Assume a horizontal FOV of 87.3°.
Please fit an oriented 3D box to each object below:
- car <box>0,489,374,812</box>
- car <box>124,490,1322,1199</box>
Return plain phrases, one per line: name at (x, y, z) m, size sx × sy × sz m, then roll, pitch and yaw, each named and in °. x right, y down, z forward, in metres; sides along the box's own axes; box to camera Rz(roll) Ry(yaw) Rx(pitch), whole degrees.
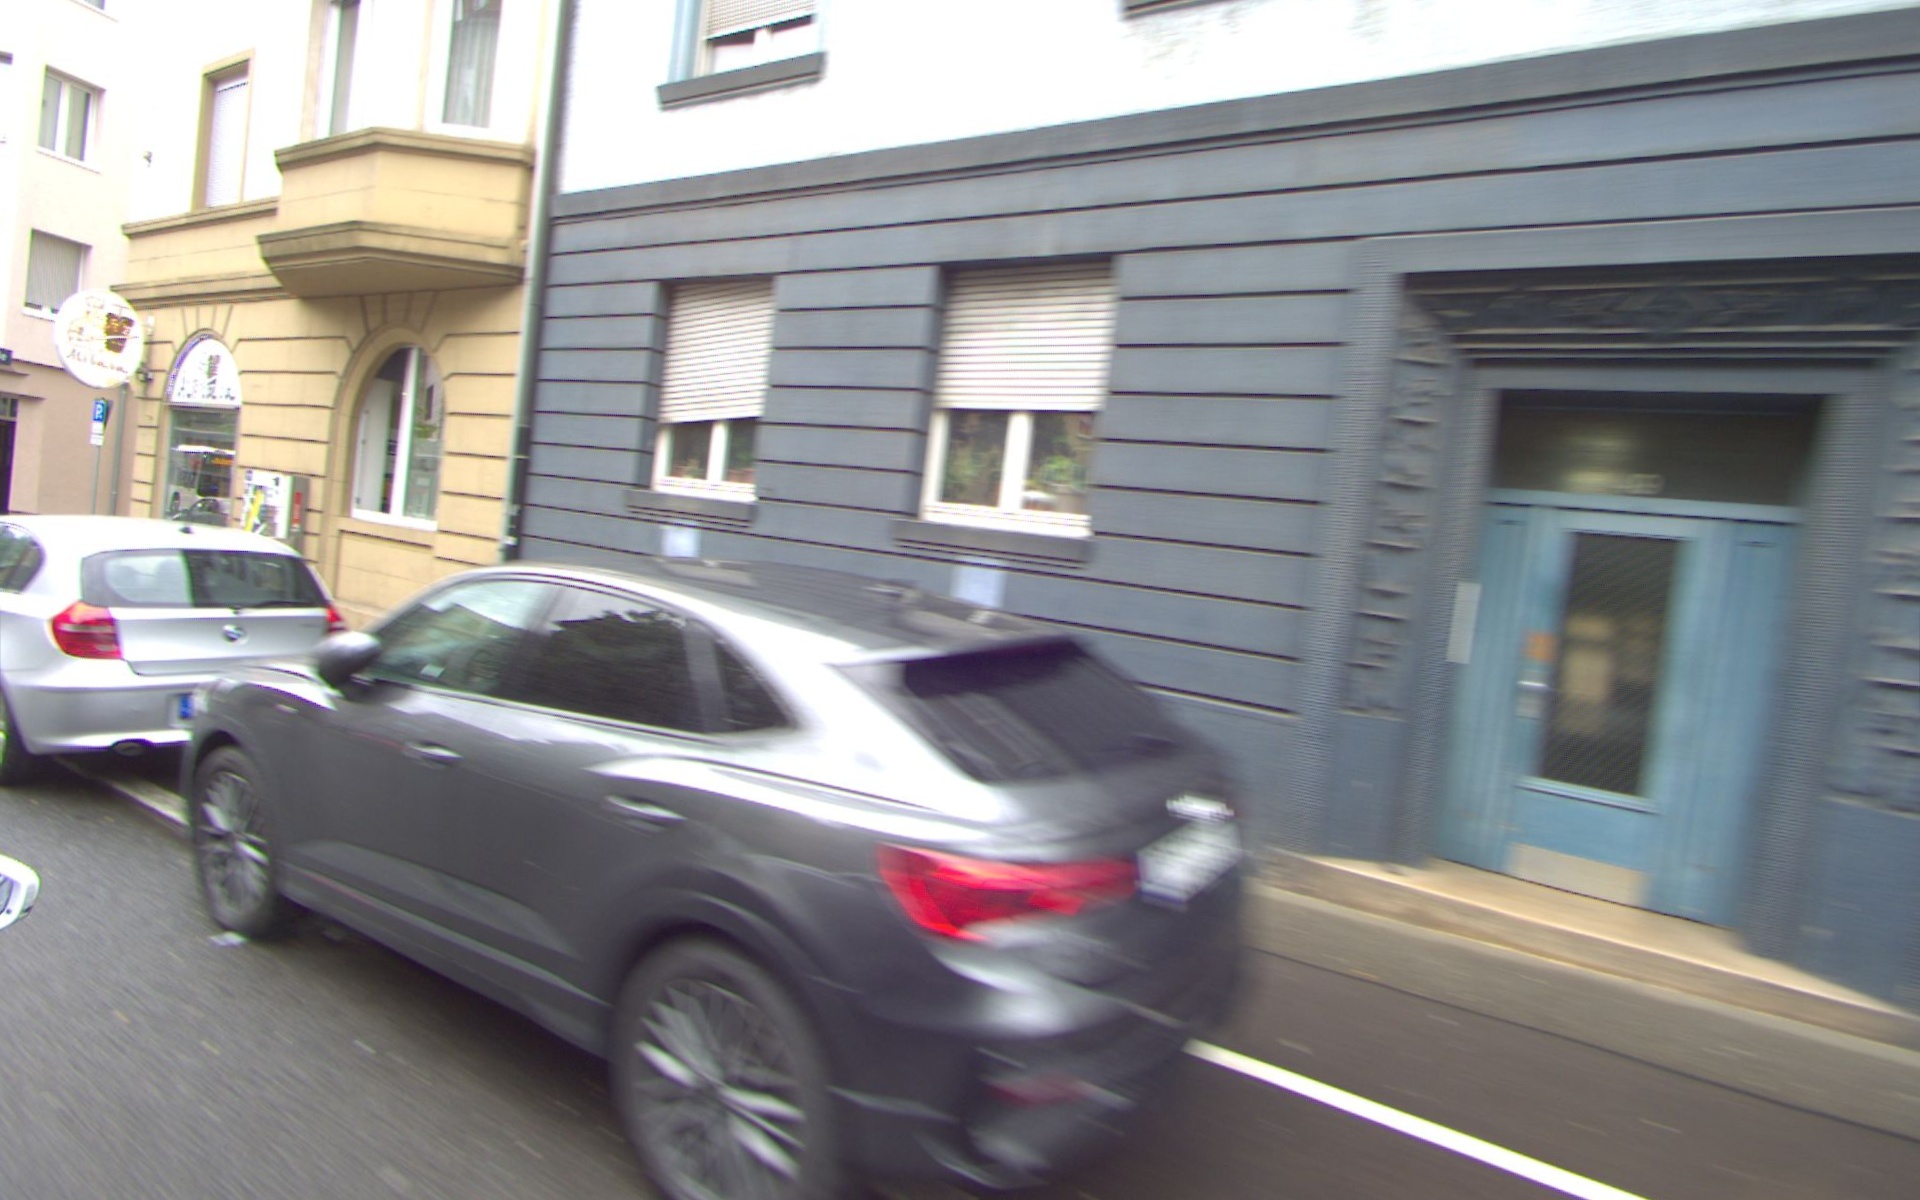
car at (-5.691, 0.099, 6.525) m, size 4.022 × 1.483 × 1.569 m, roll 7°, pitch 3°, yaw 33°
car at (-1.127, 0.581, 3.725) m, size 4.223 × 1.579 × 1.817 m, roll 7°, pitch 3°, yaw 33°
